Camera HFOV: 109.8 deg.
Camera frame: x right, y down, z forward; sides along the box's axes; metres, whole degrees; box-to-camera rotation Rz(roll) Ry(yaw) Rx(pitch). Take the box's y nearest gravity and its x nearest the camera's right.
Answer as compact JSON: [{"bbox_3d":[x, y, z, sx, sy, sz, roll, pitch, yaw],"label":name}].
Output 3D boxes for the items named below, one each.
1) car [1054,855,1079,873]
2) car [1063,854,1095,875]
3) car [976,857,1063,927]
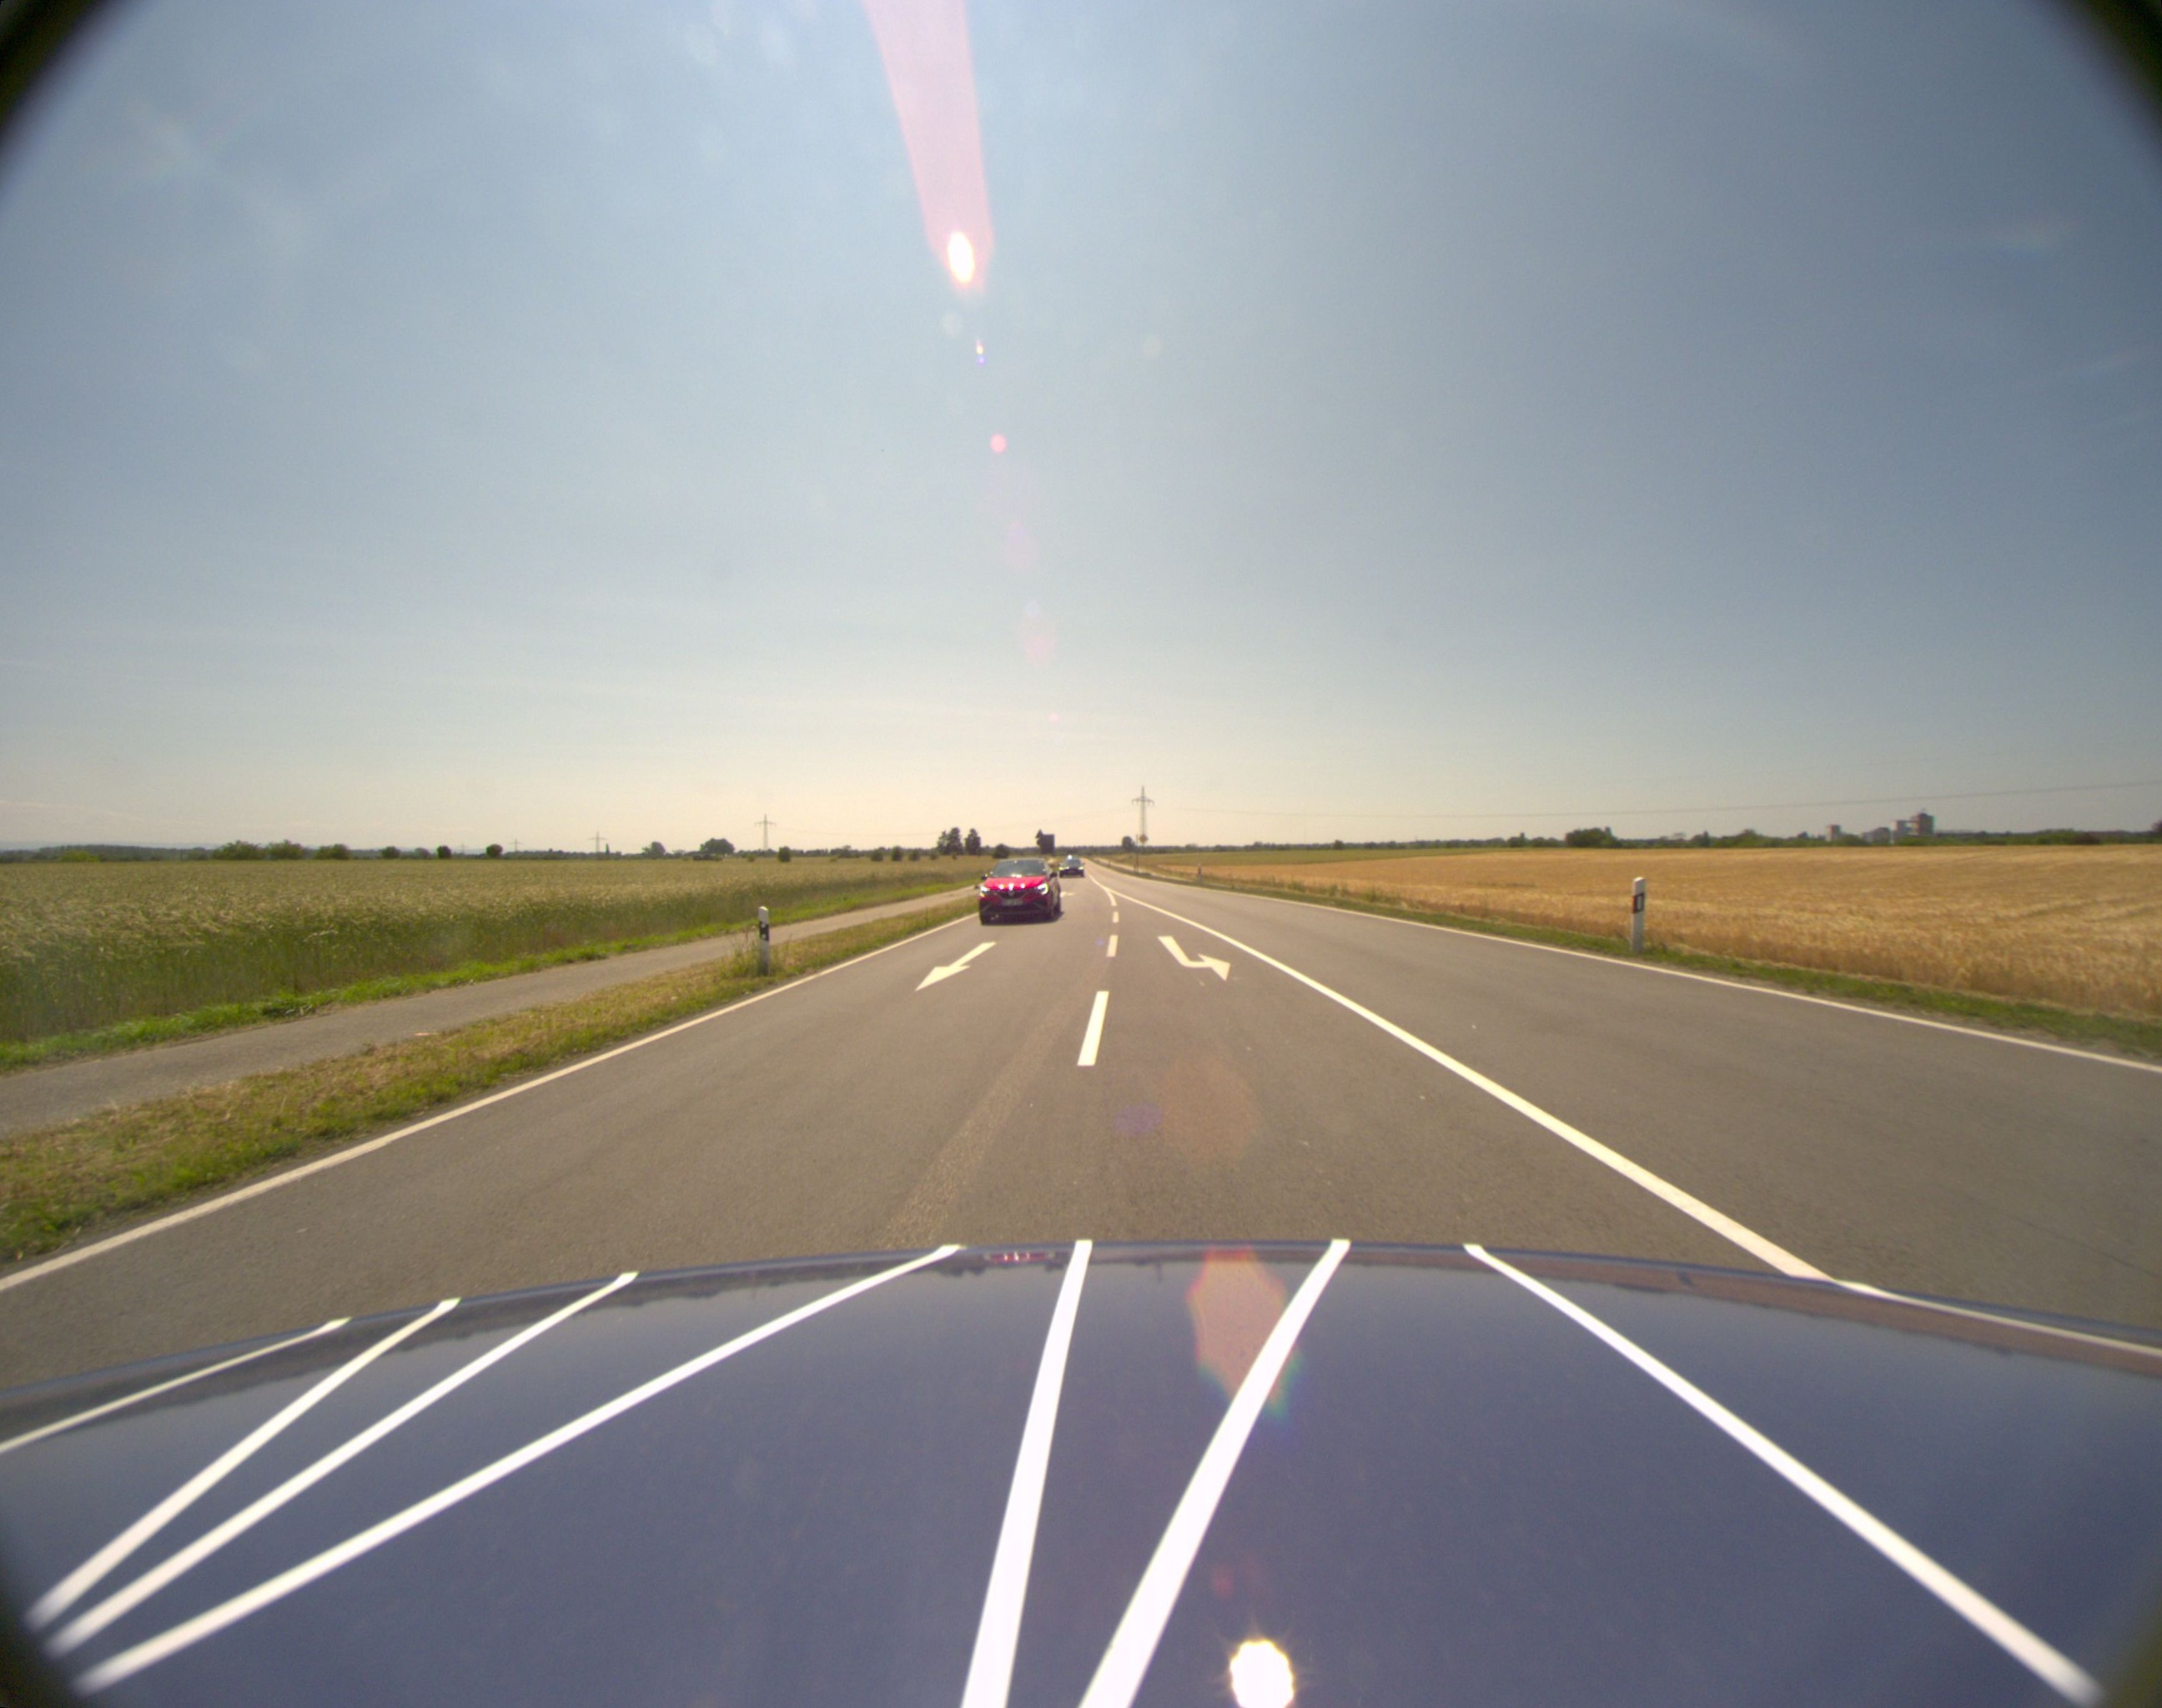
[{"bbox_3d":[-1.344,0.897,70.136,2.190,1.458,5.012,-2,0,-2],"label":"car"},{"bbox_3d":[-0.101,0.799,59.206,2.189,1.458,5.014,-2,0,2],"label":"car"},{"bbox_3d":[-1.511,0.905,20.262,1.826,1.543,4.449,-2,0,1],"label":"car"}]
